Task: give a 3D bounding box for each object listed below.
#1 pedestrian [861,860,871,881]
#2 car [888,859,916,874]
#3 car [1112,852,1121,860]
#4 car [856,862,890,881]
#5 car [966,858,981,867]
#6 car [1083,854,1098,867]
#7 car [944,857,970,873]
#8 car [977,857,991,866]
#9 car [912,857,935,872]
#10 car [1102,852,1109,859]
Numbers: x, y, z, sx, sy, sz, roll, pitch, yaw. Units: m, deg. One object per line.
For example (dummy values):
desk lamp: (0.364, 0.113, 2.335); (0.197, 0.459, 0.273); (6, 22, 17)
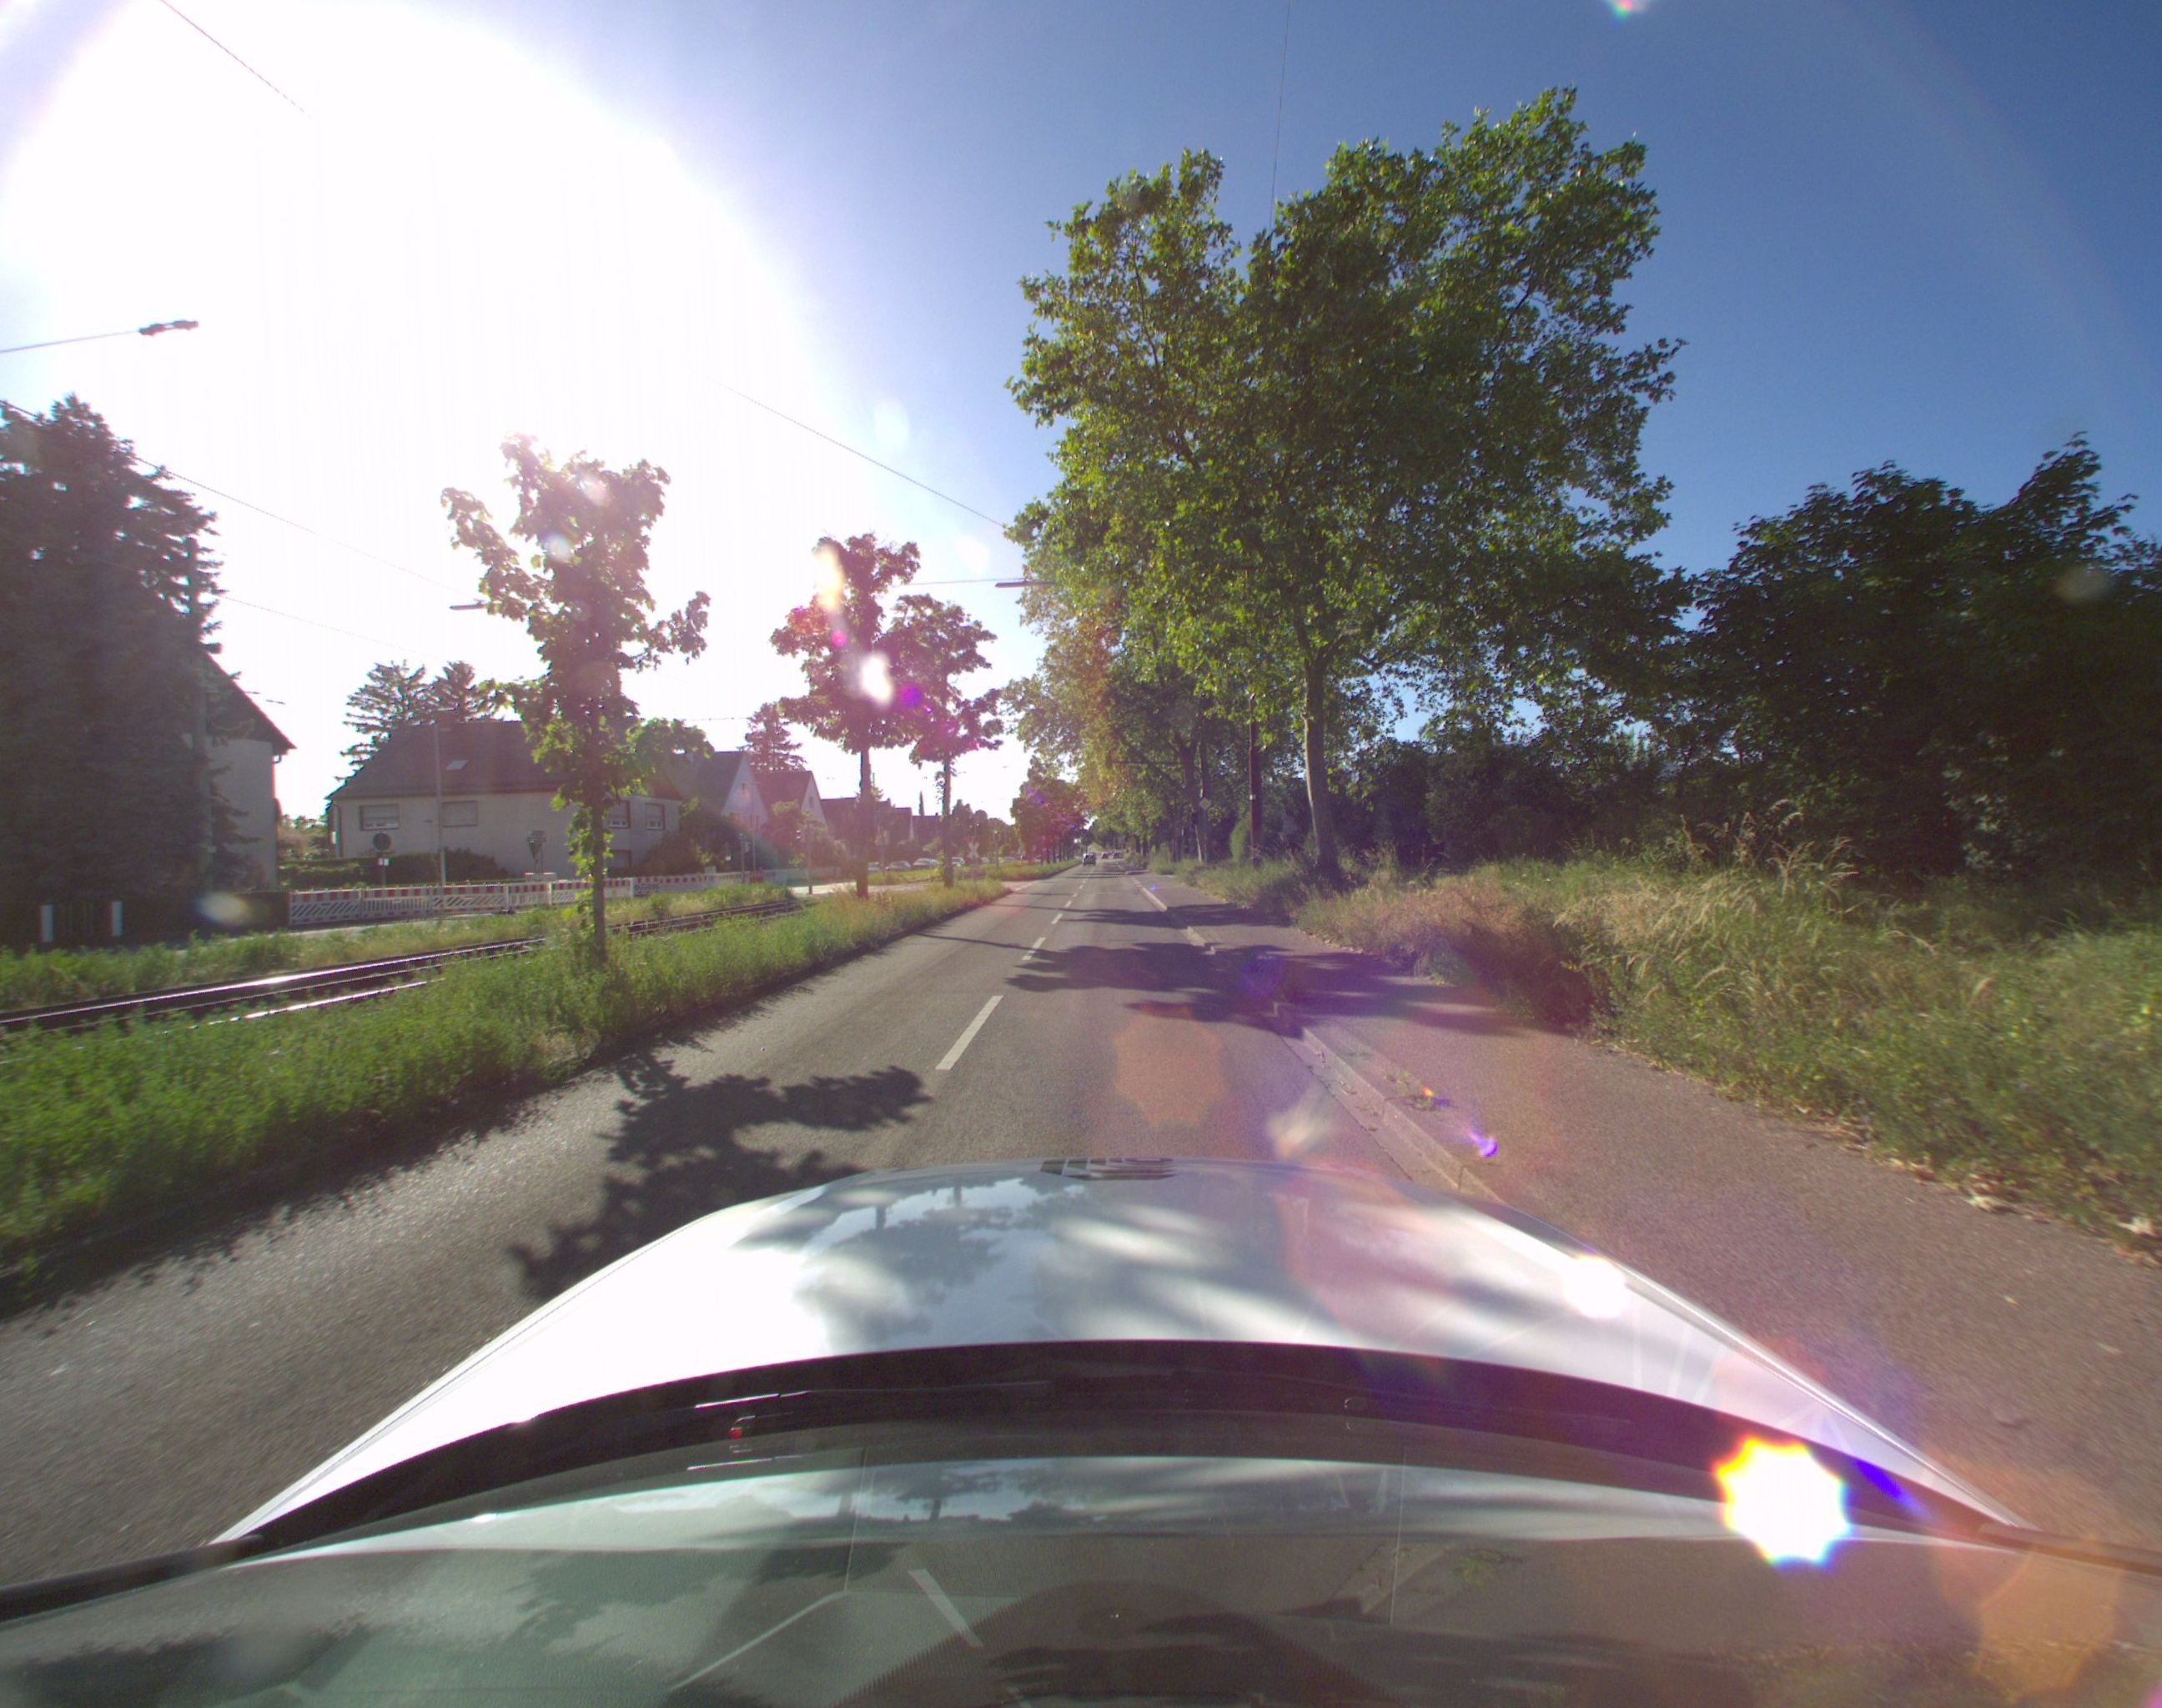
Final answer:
pedestrian: (-21.228, 1.612, 80.355); (0.678, 2.014, 0.772); (-1, 0, 1)
car: (-18.219, 1.231, 82.965); (1.723, 1.466, 4.604); (-1, 0, 1)
car: (7.633, 0.468, 175.692); (1.986, 1.603, 4.474); (-1, 0, 1)
car: (-18.920, 1.580, 74.228); (1.853, 1.542, 4.229); (-1, 0, 1)
car: (-17.486, 1.307, 132.419); (1.853, 1.413, 4.159); (-1, 0, 1)
car: (1.214, 0.822, 102.571); (1.853, 1.601, 4.229); (-1, 0, 1)
car: (-13.494, 1.176, 88.584); (1.986, 1.603, 4.474); (-1, 0, 1)
car: (-16.965, 1.339, 142.449); (1.853, 1.431, 4.463); (-1, 0, 1)
car: (-18.243, 1.236, 94.450); (1.741, 1.650, 4.556); (-1, 0, 1)
car: (6.357, 0.384, 211.826); (1.785, 1.559, 4.229); (-1, 0, 1)
